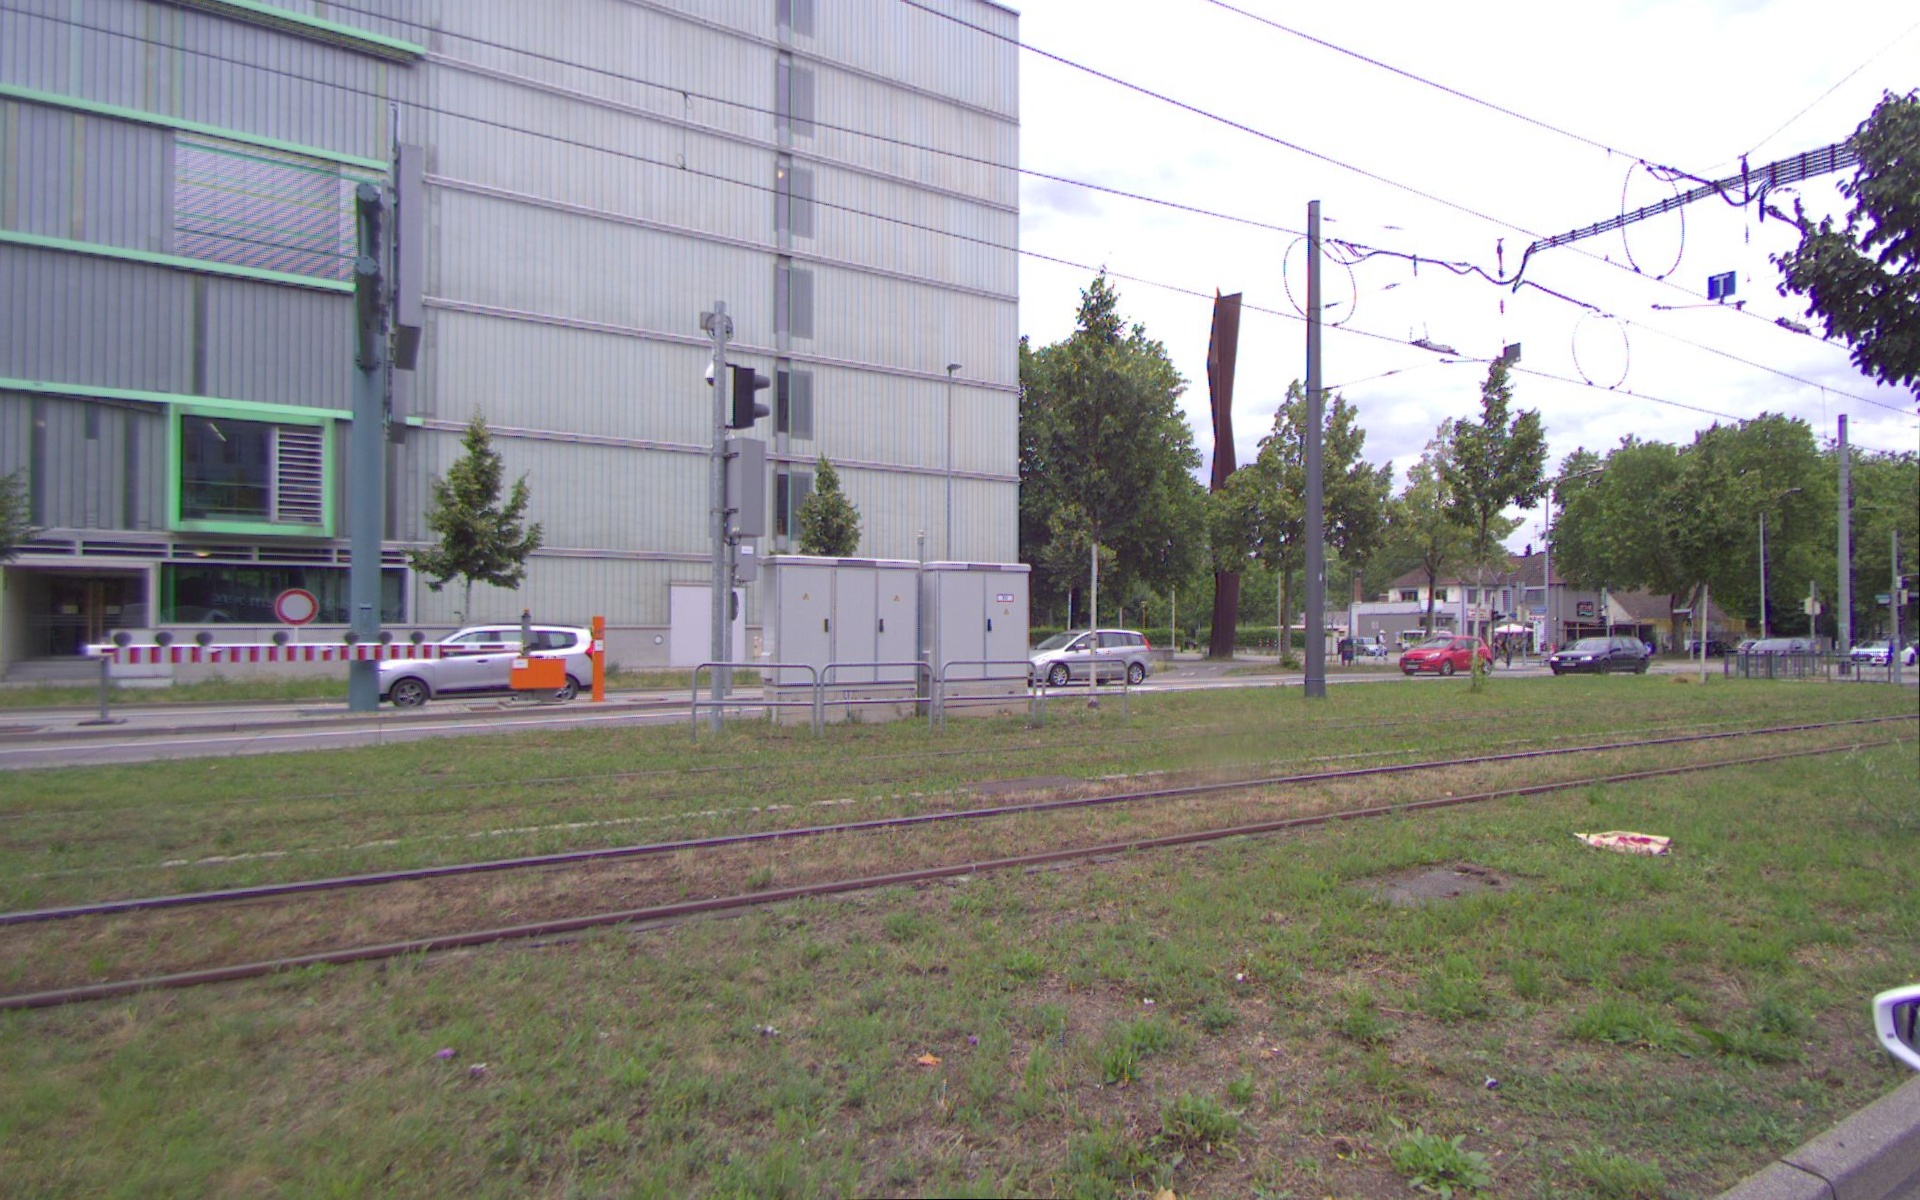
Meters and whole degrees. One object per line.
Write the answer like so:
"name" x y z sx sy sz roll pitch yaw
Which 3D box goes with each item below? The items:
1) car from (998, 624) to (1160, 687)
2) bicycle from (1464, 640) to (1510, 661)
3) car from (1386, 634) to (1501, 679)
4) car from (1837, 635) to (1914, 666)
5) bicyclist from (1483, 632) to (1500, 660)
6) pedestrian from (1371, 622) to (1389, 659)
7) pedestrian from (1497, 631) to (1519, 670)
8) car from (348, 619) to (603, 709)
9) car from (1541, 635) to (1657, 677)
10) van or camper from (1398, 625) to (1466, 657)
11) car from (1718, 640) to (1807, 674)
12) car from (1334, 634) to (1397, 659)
"car" 3.459 1.546 28.841 4.623 1.665 1.711 1 -2 -33
"bicycle" 32.700 3.139 62.375 2.474 1.218 0.738 -1 -1 35
"car" 18.173 2.084 37.697 4.275 1.591 1.788 1 -1 -29
"car" 50.779 2.768 55.685 5.019 1.609 1.802 1 -1 -31
"bicyclist" 32.933 2.830 62.215 0.838 1.744 0.719 0 -1 34
"pedestrian" 23.835 2.297 57.003 0.887 2.040 0.954 0 -1 18
"pedestrian" 26.809 2.453 49.170 0.769 1.856 0.771 -1 -1 43
"car" -9.880 1.280 20.596 4.529 1.591 1.786 2 0 -32
"car" 23.352 2.024 36.668 4.692 1.445 1.655 1 -3 -32
"van or camper" 32.402 2.778 69.173 2.416 2.040 5.283 0 -1 2
"car" 35.014 2.456 43.816 4.011 1.395 1.792 1 -2 -31
"car" 30.945 3.531 76.739 2.078 1.840 4.268 1 -1 -25
